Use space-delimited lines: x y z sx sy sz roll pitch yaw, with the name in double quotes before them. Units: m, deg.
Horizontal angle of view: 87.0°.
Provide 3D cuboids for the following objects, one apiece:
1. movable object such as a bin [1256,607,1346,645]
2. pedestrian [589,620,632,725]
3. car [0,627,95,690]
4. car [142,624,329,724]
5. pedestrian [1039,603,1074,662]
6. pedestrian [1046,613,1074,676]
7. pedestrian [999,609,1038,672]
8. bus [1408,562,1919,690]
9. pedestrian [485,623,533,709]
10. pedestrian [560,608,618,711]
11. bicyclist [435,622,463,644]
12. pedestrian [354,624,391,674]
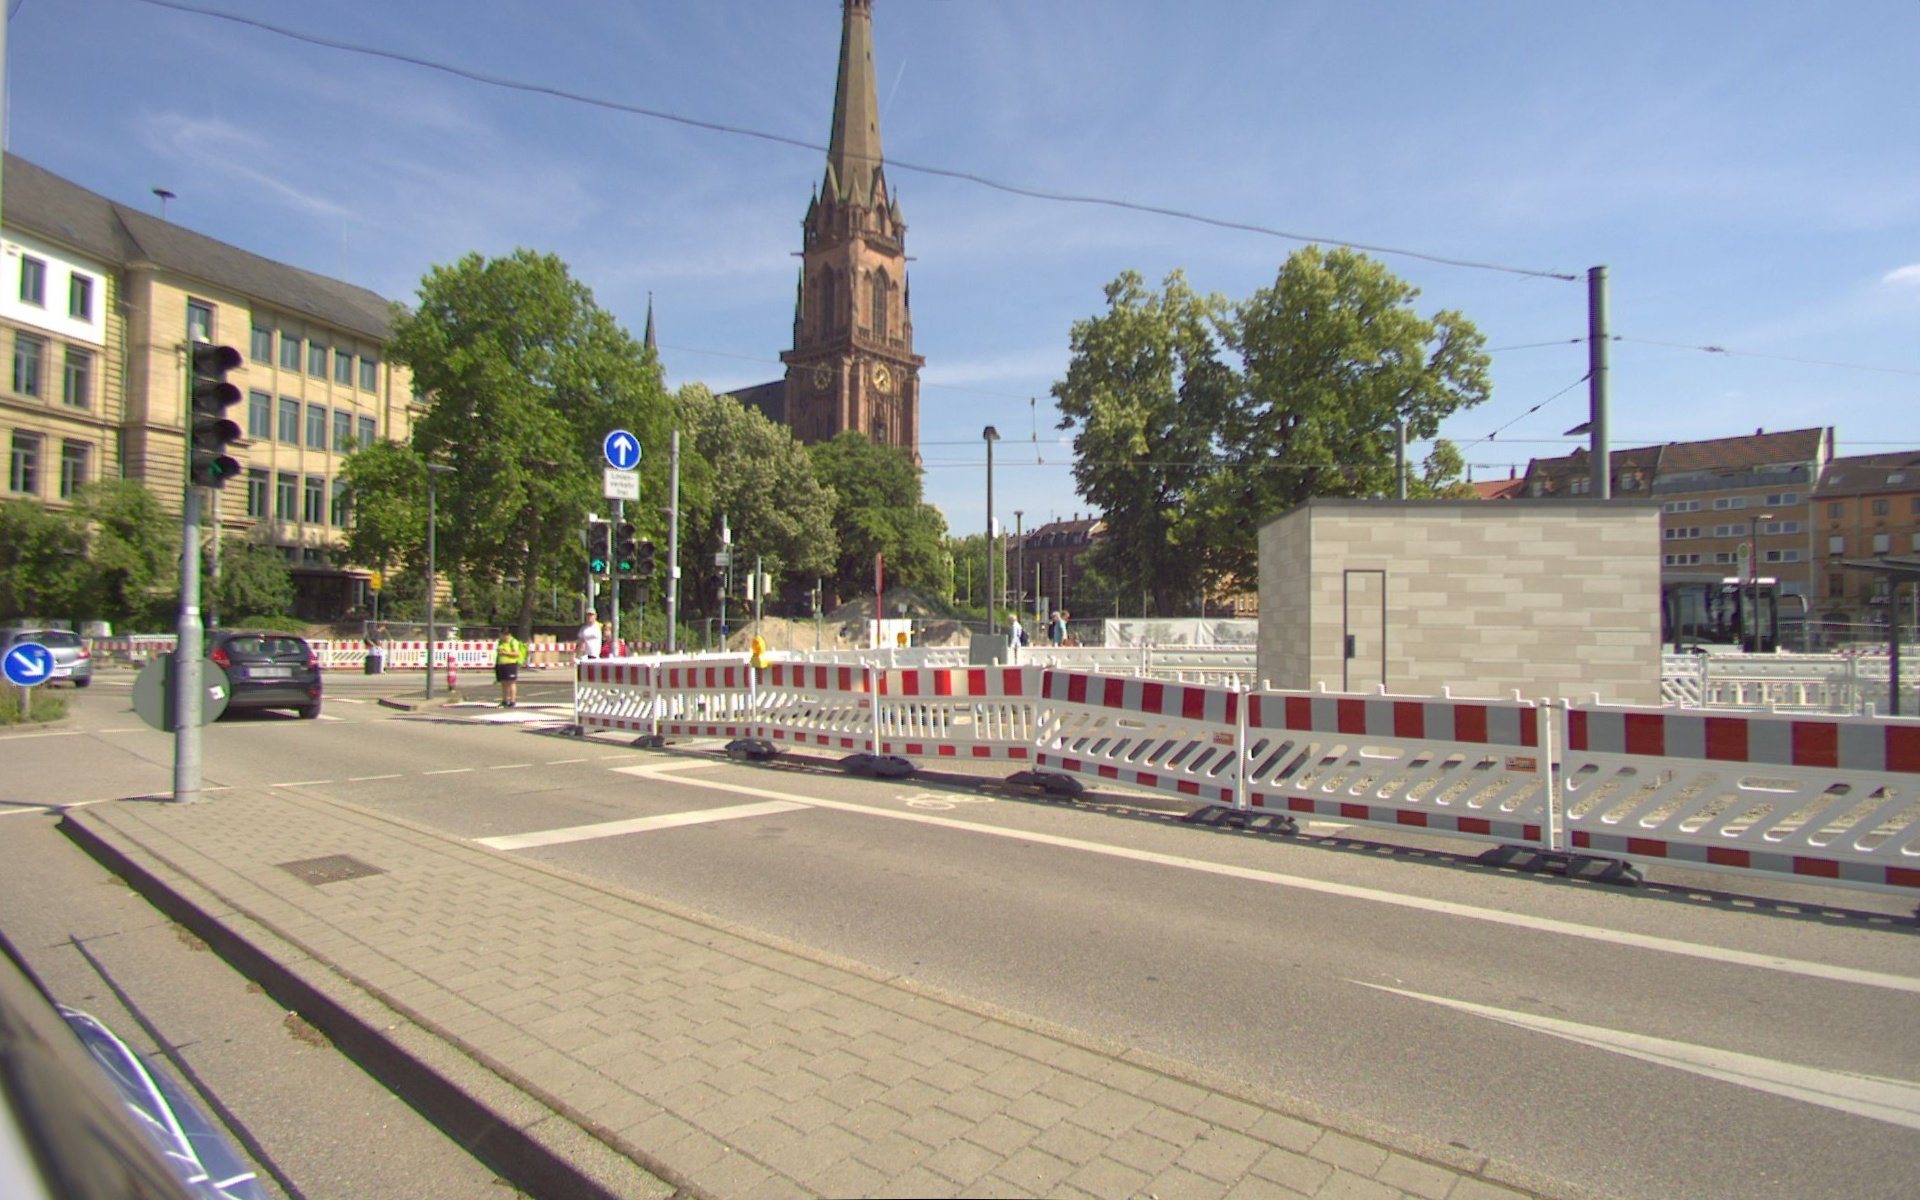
"movable object such as a bin" 27.852 2.118 82.784 6.540 3.032 2.552 -1 -2 36
"pedestrian" -5.564 1.143 16.102 0.686 1.628 0.346 -2 -3 42
"car" -22.838 1.413 24.888 3.998 1.422 1.775 -1 -4 41
"car" -12.078 1.171 16.793 3.816 1.462 1.649 -1 -4 41
"pedestrian" 2.876 0.969 30.137 0.922 1.726 0.559 0 -2 -6
"pedestrian" 2.660 1.174 26.901 0.576 1.628 0.690 0 -2 -8
"pedestrian" 1.530 1.057 26.523 0.781 1.628 0.663 1 -2 -40
"bus" 20.293 0.746 29.918 12.502 3.516 2.857 0 -2 6
"pedestrian" -8.510 1.227 19.110 0.423 1.555 0.659 -2 0 40
"pedestrian" -6.742 1.068 18.416 0.829 1.826 0.649 -1 -2 -1
"bicyclist" -22.311 1.454 44.191 0.857 0.934 0.682 0 -2 2
"pedestrian" -20.176 1.678 34.768 0.926 1.668 0.845 2 -3 -41
